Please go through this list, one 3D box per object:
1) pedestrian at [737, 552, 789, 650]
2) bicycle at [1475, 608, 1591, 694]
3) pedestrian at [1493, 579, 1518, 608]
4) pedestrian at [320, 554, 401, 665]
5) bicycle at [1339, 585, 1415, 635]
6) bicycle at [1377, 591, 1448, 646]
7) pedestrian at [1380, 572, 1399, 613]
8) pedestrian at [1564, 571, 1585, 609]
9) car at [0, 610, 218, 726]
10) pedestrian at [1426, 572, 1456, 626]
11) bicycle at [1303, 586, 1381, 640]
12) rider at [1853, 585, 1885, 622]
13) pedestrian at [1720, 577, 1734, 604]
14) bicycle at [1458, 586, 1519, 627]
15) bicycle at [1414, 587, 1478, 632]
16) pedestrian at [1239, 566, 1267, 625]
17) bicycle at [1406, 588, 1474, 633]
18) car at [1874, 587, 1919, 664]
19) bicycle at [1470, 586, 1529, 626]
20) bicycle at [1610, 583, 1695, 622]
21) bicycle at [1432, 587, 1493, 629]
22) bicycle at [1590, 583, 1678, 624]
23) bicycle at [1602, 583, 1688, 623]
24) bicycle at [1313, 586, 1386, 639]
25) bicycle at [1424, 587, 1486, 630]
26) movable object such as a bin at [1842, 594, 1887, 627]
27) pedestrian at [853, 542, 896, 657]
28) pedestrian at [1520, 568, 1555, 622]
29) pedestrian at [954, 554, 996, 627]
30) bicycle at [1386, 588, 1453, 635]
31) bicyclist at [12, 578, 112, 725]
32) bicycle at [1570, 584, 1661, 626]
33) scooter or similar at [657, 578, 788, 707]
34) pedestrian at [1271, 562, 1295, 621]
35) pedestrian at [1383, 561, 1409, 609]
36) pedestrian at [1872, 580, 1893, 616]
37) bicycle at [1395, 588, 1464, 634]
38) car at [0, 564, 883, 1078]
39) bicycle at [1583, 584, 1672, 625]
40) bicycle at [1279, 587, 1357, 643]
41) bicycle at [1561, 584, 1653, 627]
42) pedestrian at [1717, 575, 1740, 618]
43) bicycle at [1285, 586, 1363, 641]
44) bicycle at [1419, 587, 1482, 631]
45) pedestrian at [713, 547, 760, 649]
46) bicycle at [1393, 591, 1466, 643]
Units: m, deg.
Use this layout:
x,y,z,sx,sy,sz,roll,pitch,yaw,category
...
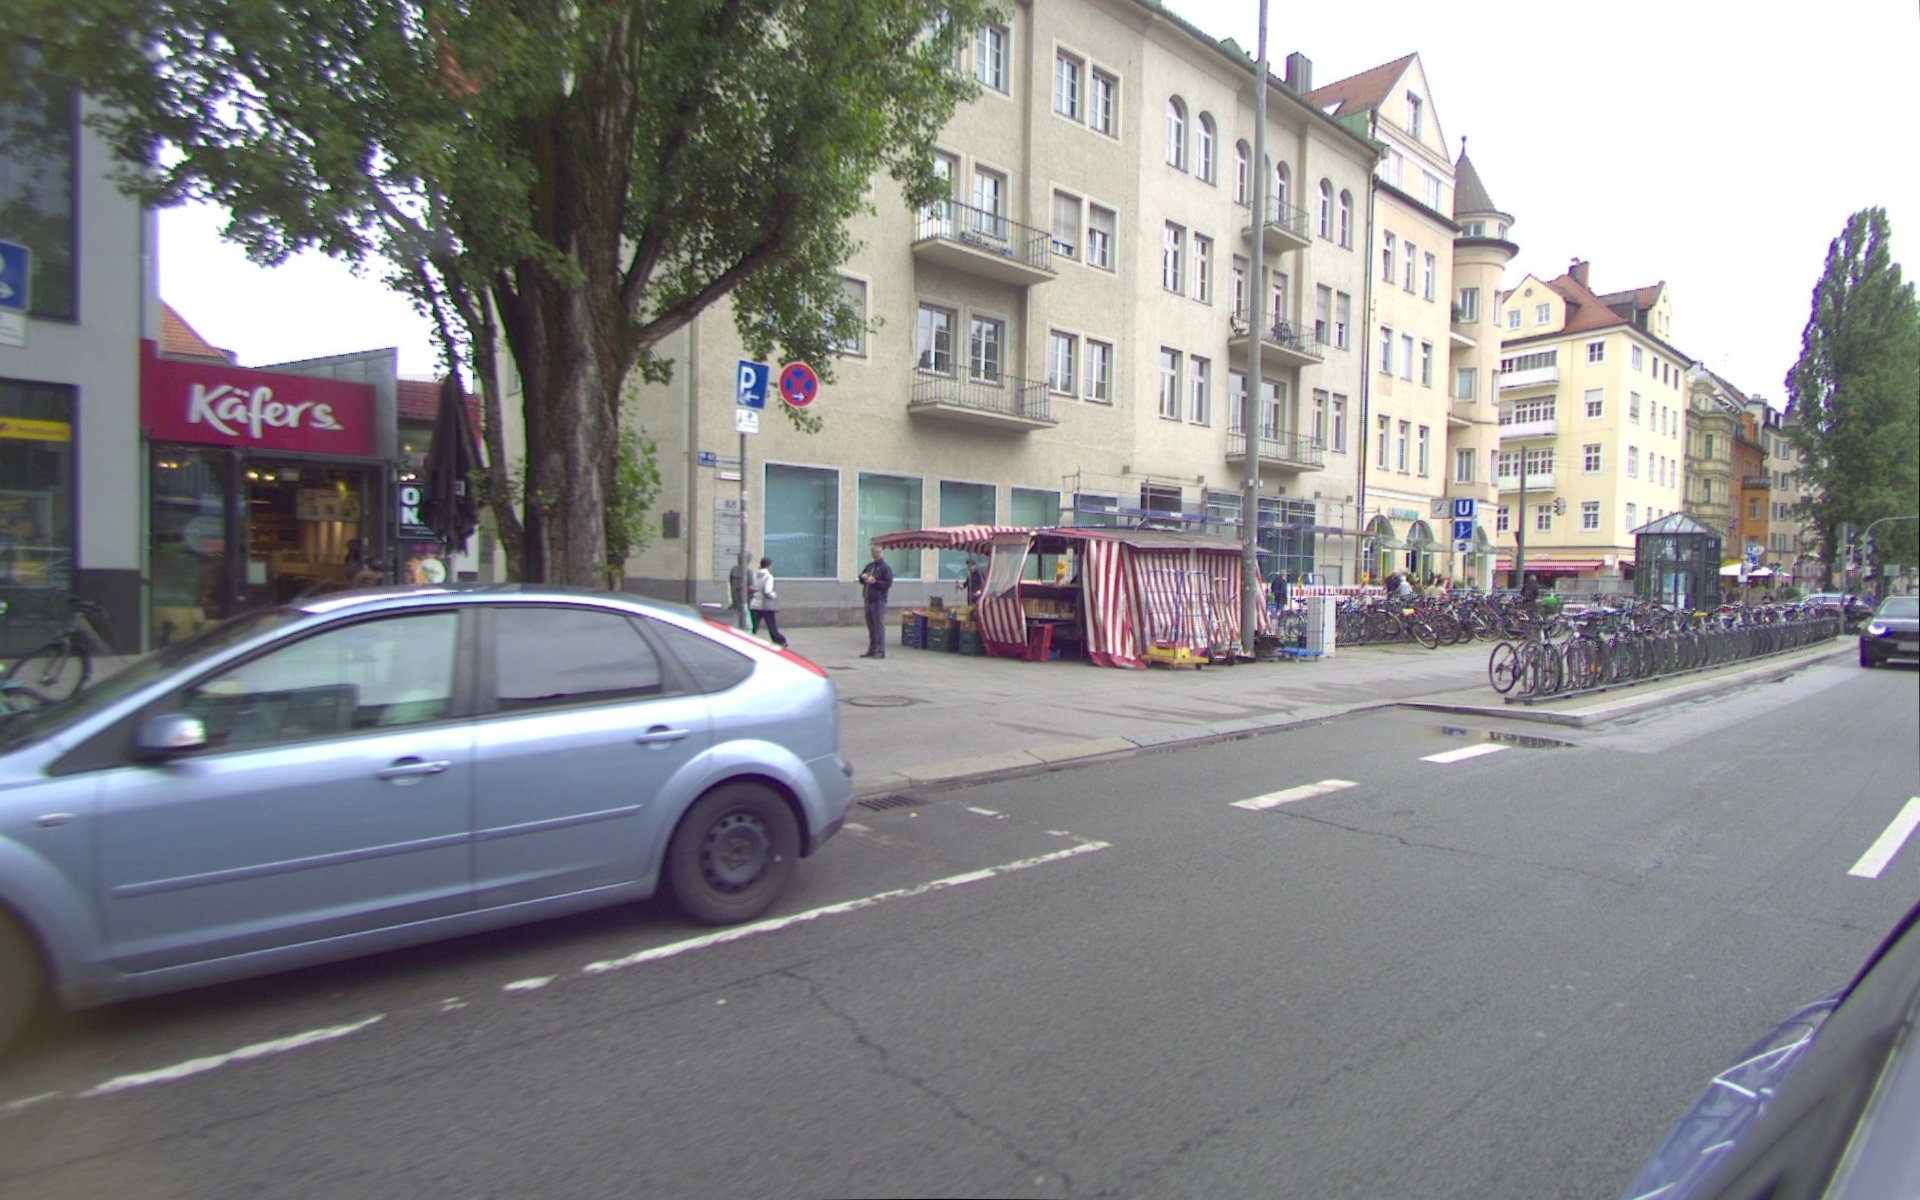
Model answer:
x,y,z,sx,sy,sz,roll,pitch,yaw,category
-3.329,0.006,17.087,0.622,1.603,0.644,0,2,-33,pedestrian
7.541,0.664,13.403,0.536,1.068,1.576,0,-2,-3,bicycle
24.453,-0.307,45.342,0.904,1.260,0.700,-2,3,-43,pedestrian
-8.299,0.125,14.035,0.745,1.495,0.649,0,1,-3,pedestrian
10.161,0.224,24.696,1.627,1.116,0.404,4,3,40,bicycle
9.859,0.377,22.097,0.402,1.091,1.477,0,3,-26,bicycle
16.692,-0.302,39.365,0.558,1.560,0.588,1,2,12,pedestrian
28.274,-0.483,46.544,0.555,1.721,0.591,-1,3,-31,pedestrian
-7.543,0.571,9.020,1.470,0.915,0.367,0,3,-42,car
14.592,-0.040,30.697,0.528,1.602,0.660,0,2,-44,pedestrian
8.659,0.277,22.993,0.403,1.116,1.633,0,3,-39,bicycle
32.114,0.109,35.738,0.721,1.256,0.731,-1,4,-44,rider
49.162,-0.627,64.894,0.575,1.705,0.552,0,2,-40,pedestrian
15.195,0.182,29.118,1.449,1.091,0.404,4,3,44,bicycle
12.958,0.242,27.012,1.447,1.091,0.404,4,3,41,bicycle
7.917,-0.129,27.351,0.458,1.559,0.560,-1,1,-40,pedestrian
12.556,0.255,26.491,1.530,1.091,0.404,4,3,41,bicycle
20.470,0.496,21.132,3.983,1.488,1.737,-1,2,-43,car
15.896,0.163,29.840,1.449,1.091,0.404,4,3,44,bicycle
23.822,0.072,34.867,0.617,1.242,2.318,0,2,-38,bicycle
14.026,0.208,28.284,1.447,1.091,0.404,4,3,41,bicycle
22.405,0.107,33.675,0.617,1.242,2.343,0,2,-38,bicycle
23.254,0.086,34.389,0.617,1.242,2.331,0,2,-38,bicycle
9.027,0.264,23.527,0.402,1.116,1.636,0,3,-32,bicycle
13.663,0.217,27.961,1.447,1.091,0.404,4,3,41,bicycle
32.012,0.361,35.815,0.735,1.075,1.088,-1,5,-44,movable object such as a bin
-1.363,-0.026,16.304,0.598,1.792,0.720,1,2,0,pedestrian
19.175,-0.174,33.627,0.727,1.729,0.703,2,1,8,pedestrian
0.359,-0.229,23.772,0.751,1.671,0.603,0,2,-37,pedestrian
11.661,0.278,25.709,1.447,1.091,0.404,4,3,41,bicycle
-7.800,0.422,8.809,0.630,1.210,0.539,0,2,-41,bicyclist
21.130,0.136,32.669,0.617,1.242,2.343,0,2,-38,bicycle
-2.481,0.406,10.512,1.458,1.222,0.396,3,2,32,scooter or similar
9.319,-0.245,29.220,0.495,1.695,0.541,0,1,-3,pedestrian
16.306,-0.560,37.885,0.634,1.759,0.617,0,3,-43,pedestrian
48.700,-0.117,53.432,0.729,1.823,0.701,2,4,40,pedestrian
12.103,0.266,26.115,1.530,1.091,0.404,4,3,41,bicycle
-2.493,0.627,4.186,4.071,1.472,1.730,0,0,-37,car
21.748,0.125,33.028,0.617,1.242,2.318,0,2,-38,bicycle
7.821,0.300,22.170,0.402,1.116,1.634,0,3,-36,bicycle
20.602,0.148,32.261,0.617,1.242,2.368,0,2,-38,bicycle
32.557,-0.175,42.888,0.634,1.799,0.605,1,1,26,pedestrian
8.123,0.288,22.660,0.403,1.116,1.633,0,3,-39,bicycle
13.297,0.230,27.461,1.447,1.091,0.404,4,3,41,bicycle
-3.864,-0.042,17.487,0.585,1.722,0.582,0,2,-33,pedestrian
10.845,0.378,23.406,0.402,1.091,1.484,0,3,-36,bicycle
